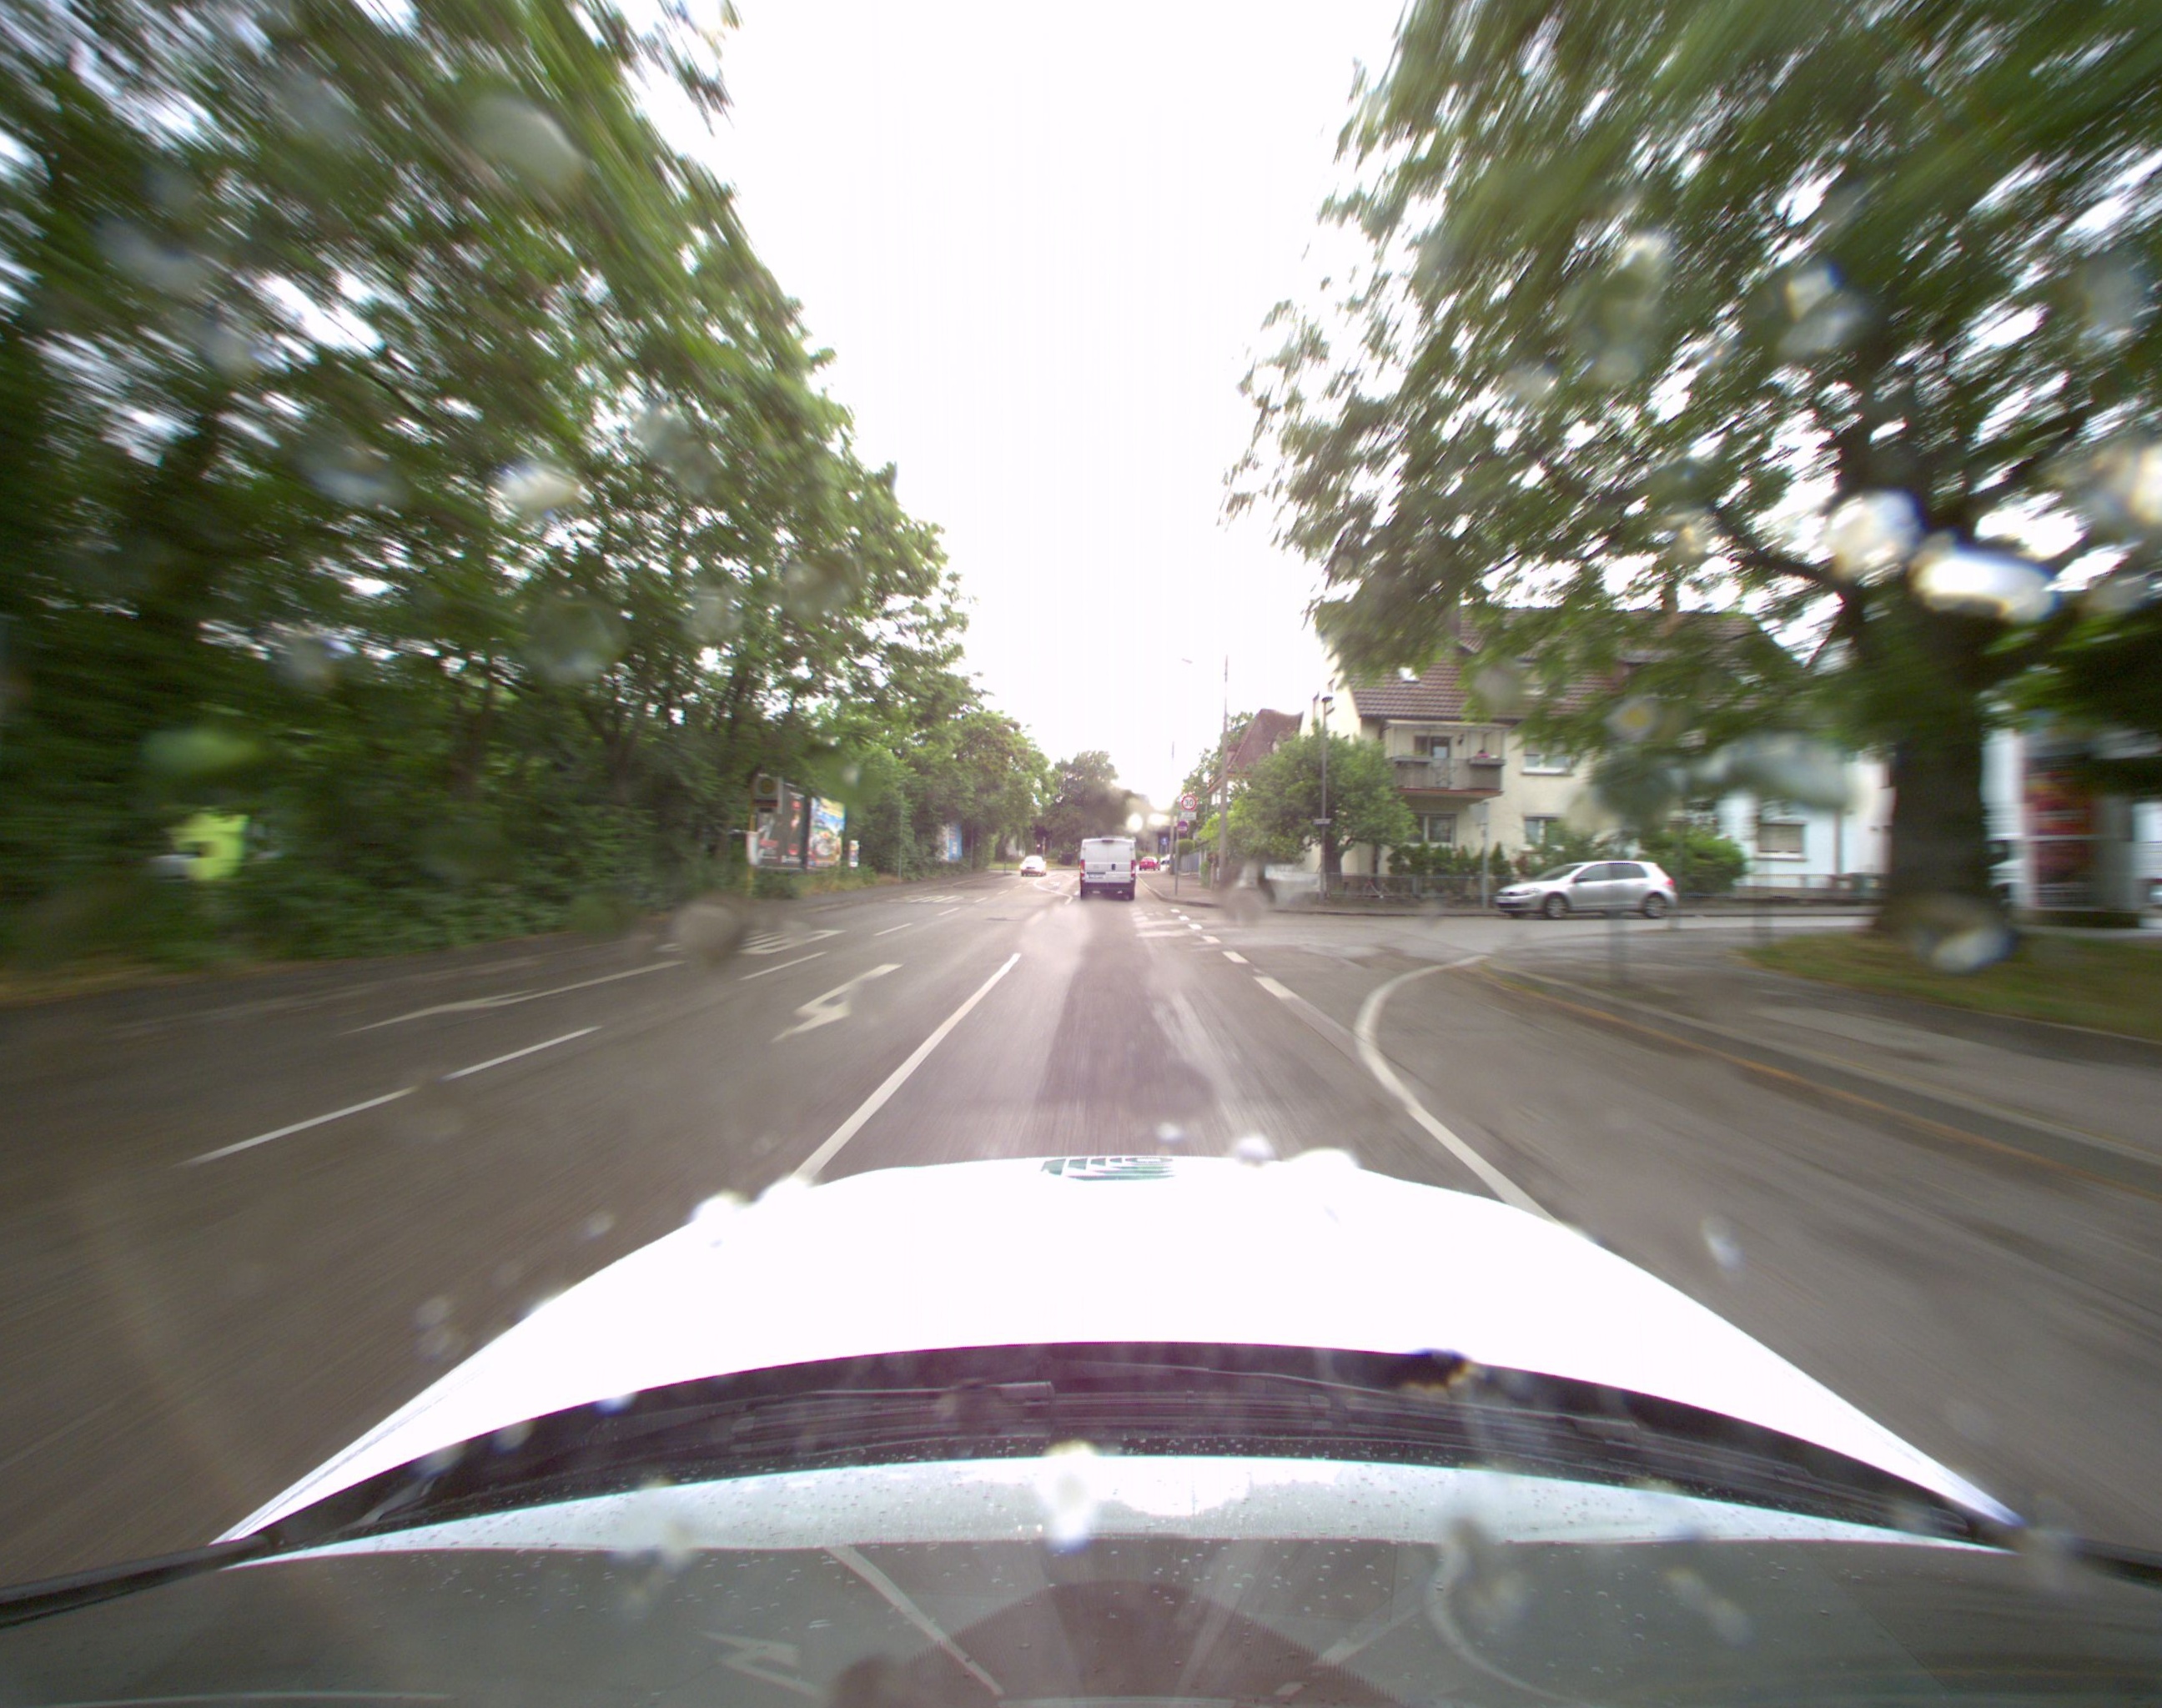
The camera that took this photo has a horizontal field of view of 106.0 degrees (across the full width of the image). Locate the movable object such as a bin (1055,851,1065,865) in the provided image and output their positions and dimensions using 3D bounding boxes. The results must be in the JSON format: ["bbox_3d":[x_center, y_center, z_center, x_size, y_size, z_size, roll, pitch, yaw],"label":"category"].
[{"bbox_3d":[-2.498,0.500,97.045,0.935,1.564,1.132,7,0,6],"label":"movable object such as a bin"}]

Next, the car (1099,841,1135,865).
[{"bbox_3d":[4.812,-0.117,107.493,2.512,3.018,7.247,2,0,21],"label":"car"}]

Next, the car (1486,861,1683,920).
[{"bbox_3d":[12.749,0.911,20.789,3.975,1.423,1.703,0,-2,-1],"label":"car"}]

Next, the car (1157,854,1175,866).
[{"bbox_3d":[11.937,0.862,113.624,1.980,1.457,4.845,1,-1,12],"label":"car"}]

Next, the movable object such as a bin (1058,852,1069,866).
[{"bbox_3d":[-2.041,0.624,95.719,0.935,1.564,1.132,7,0,6],"label":"movable object such as a bin"}]

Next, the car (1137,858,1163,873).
[{"bbox_3d":[7.360,1.261,86.729,1.751,1.510,3.774,2,0,21],"label":"car"}]

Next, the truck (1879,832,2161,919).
[{"bbox_3d":[24.328,0.586,20.739,5.806,2.061,2.000,-1,-4,2],"label":"truck"}]

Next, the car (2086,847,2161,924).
[{"bbox_3d":[22.142,0.580,15.346,4.337,1.423,1.703,0,-2,-1],"label":"car"}]

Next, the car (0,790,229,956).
[{"bbox_3d":[-13.732,0.164,11.333,3.949,1.937,2.012,3,0,36],"label":"car"}]

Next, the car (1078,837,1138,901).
[{"bbox_3d":[1.042,0.554,31.707,2.138,2.283,5.064,0,-1,2],"label":"car"}]

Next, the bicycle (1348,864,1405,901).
[{"bbox_3d":[8.965,0.860,24.704,1.563,1.115,0.458,0,0,5],"label":"bicycle"}]

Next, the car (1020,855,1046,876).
[{"bbox_3d":[-3.567,0.843,60.942,1.648,1.417,3.937,-1,0,1],"label":"car"}]
